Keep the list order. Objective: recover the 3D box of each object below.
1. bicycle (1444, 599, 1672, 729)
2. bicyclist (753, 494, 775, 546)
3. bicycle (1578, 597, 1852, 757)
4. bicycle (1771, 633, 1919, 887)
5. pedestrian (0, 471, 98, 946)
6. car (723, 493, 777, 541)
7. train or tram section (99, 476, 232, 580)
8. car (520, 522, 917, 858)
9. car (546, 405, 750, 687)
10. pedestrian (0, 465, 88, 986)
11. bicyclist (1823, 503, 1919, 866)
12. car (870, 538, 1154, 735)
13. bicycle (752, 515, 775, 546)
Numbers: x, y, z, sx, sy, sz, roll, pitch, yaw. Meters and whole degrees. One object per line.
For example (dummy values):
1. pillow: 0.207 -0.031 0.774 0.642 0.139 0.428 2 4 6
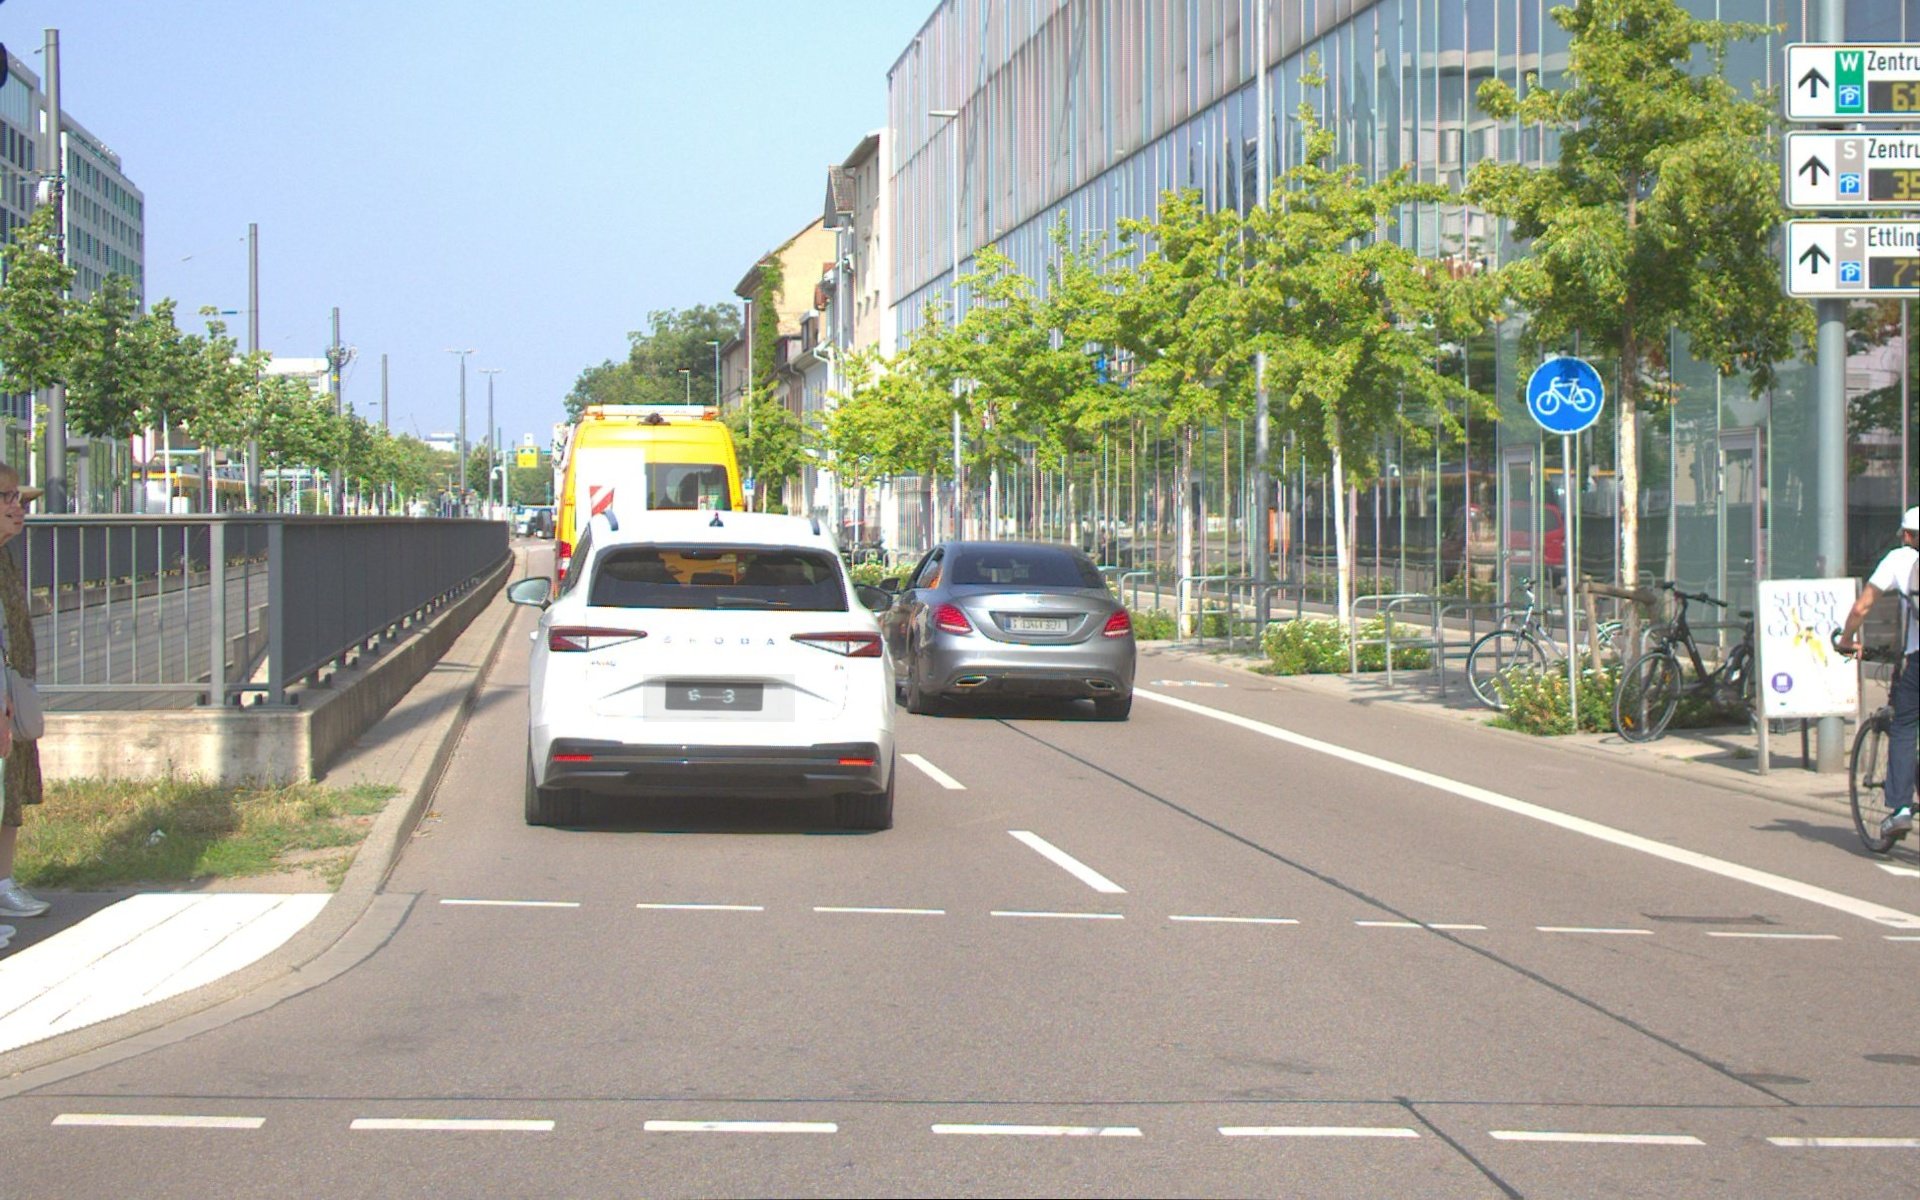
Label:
1. bicycle: 5.186 0.550 29.829 1.878 1.105 0.490 0 1 -4
2. bicyclist: -5.998 -2.455 105.266 0.639 1.571 0.771 0 1 -4
3. bicycle: 5.627 0.569 25.672 1.839 1.109 0.687 2 1 -4
4. bicycle: 4.686 0.761 17.154 0.661 1.113 2.051 0 1 -4
5. pedestrian: -3.372 0.365 12.269 0.467 1.644 0.777 0 1 -6
6. car: -9.054 -3.577 148.120 2.062 2.007 4.589 0 2 -7
7. train or tram section: -30.569 -2.771 133.074 2.905 3.663 18.141 2 1 -7
8. car: -1.355 0.380 18.232 1.869 1.569 4.001 0 1 -6
9. car: -3.398 -0.686 36.912 2.020 2.786 5.403 0 3 -6
10. pedestrian: -3.141 0.387 11.218 0.467 1.644 0.777 0 1 -6
11. bicyclist: 4.683 0.396 16.869 0.651 1.743 0.769 0 1 -4
12. car: 0.356 0.251 28.680 1.760 1.431 4.116 2 1 -7
13. bicycle: -6.020 -2.125 105.312 0.655 0.935 1.517 0 1 -4
